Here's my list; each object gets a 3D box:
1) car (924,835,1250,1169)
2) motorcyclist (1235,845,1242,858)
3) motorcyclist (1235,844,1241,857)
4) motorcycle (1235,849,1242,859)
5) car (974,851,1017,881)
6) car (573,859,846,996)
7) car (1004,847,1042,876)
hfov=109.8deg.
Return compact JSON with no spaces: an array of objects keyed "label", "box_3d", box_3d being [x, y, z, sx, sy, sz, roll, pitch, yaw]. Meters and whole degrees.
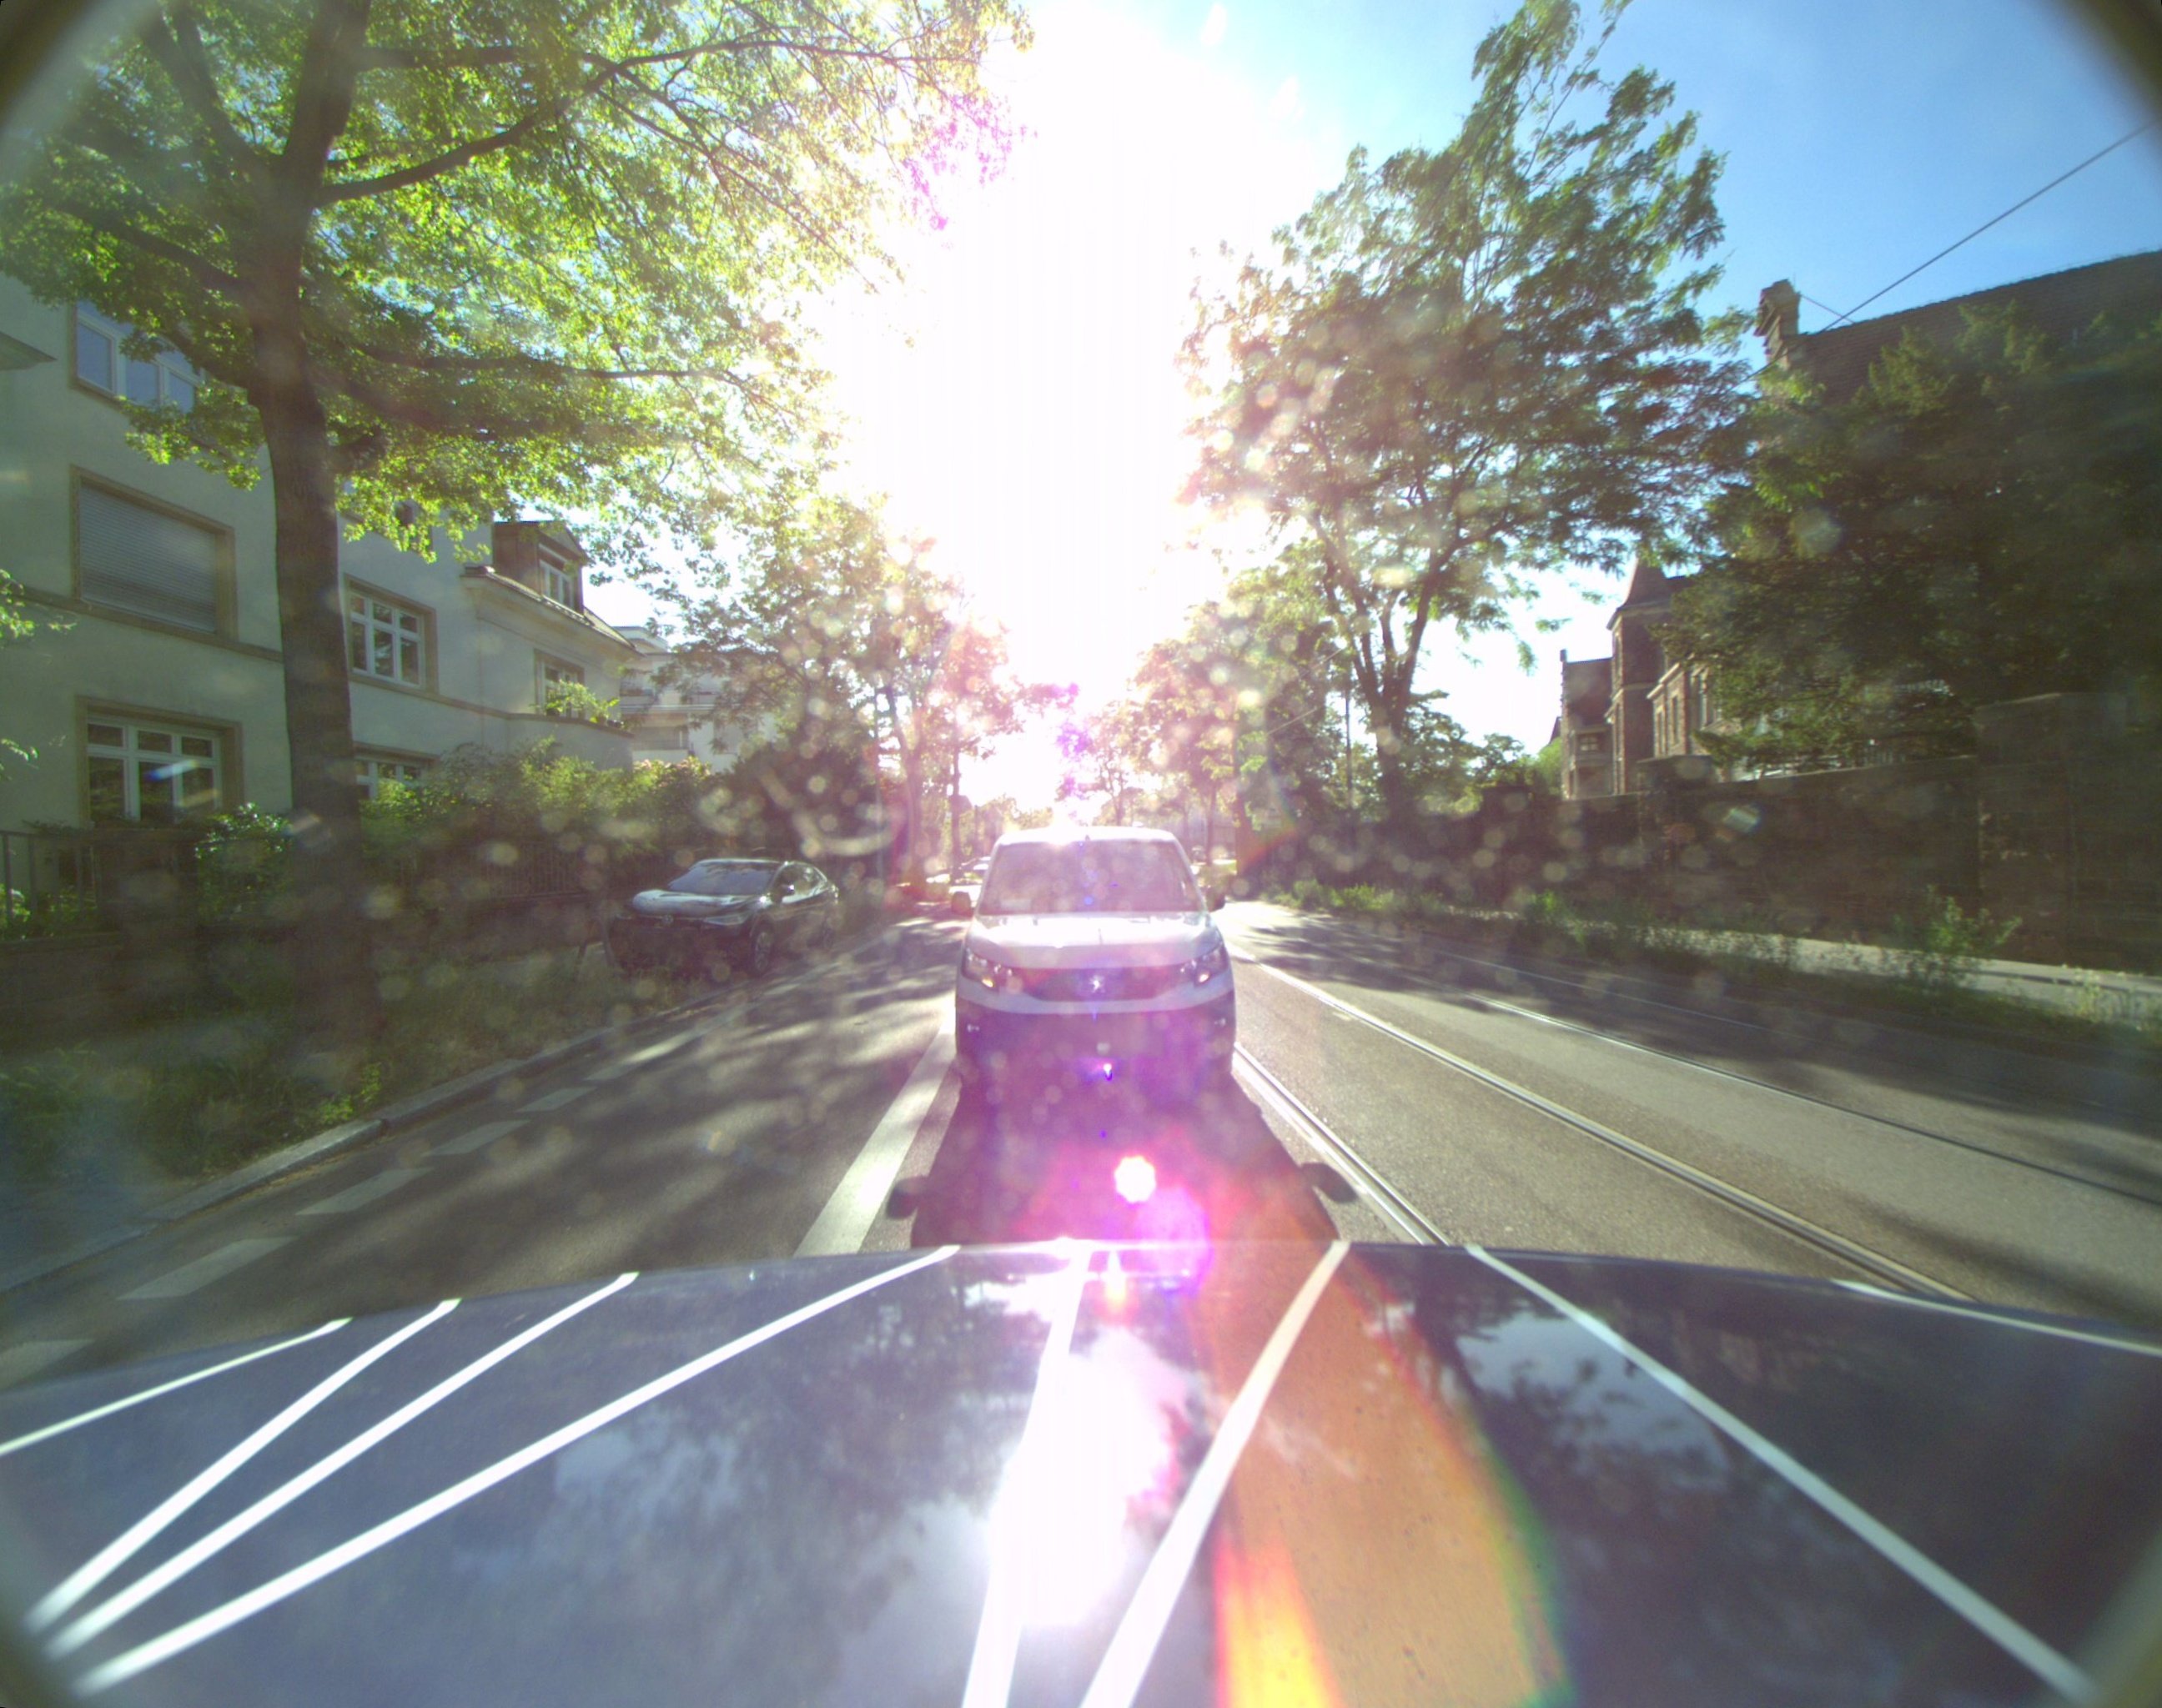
[{"label":"car","box_3d":[0.025,0.808,6.167,1.768,1.812,3.999,-1,0,0]},{"label":"motorcyclist","box_3d":[18.564,-0.299,89.498,0.684,1.432,0.447,-1,1,18]},{"label":"motorcyclist","box_3d":[18.424,-0.394,89.015,0.607,1.507,0.466,-1,1,16]},{"label":"motorcycle","box_3d":[18.547,0.023,89.355,0.610,1.087,1.858,-1,0,17]},{"label":"car","box_3d":[-5.043,0.668,45.223,1.823,1.630,4.001,-2,0,4]},{"label":"car","box_3d":[-5.250,0.938,11.549,1.999,1.665,4.380,1,-1,0]},{"label":"car","box_3d":[-3.876,0.482,51.867,2.129,1.884,4.746,-2,0,1]}]
